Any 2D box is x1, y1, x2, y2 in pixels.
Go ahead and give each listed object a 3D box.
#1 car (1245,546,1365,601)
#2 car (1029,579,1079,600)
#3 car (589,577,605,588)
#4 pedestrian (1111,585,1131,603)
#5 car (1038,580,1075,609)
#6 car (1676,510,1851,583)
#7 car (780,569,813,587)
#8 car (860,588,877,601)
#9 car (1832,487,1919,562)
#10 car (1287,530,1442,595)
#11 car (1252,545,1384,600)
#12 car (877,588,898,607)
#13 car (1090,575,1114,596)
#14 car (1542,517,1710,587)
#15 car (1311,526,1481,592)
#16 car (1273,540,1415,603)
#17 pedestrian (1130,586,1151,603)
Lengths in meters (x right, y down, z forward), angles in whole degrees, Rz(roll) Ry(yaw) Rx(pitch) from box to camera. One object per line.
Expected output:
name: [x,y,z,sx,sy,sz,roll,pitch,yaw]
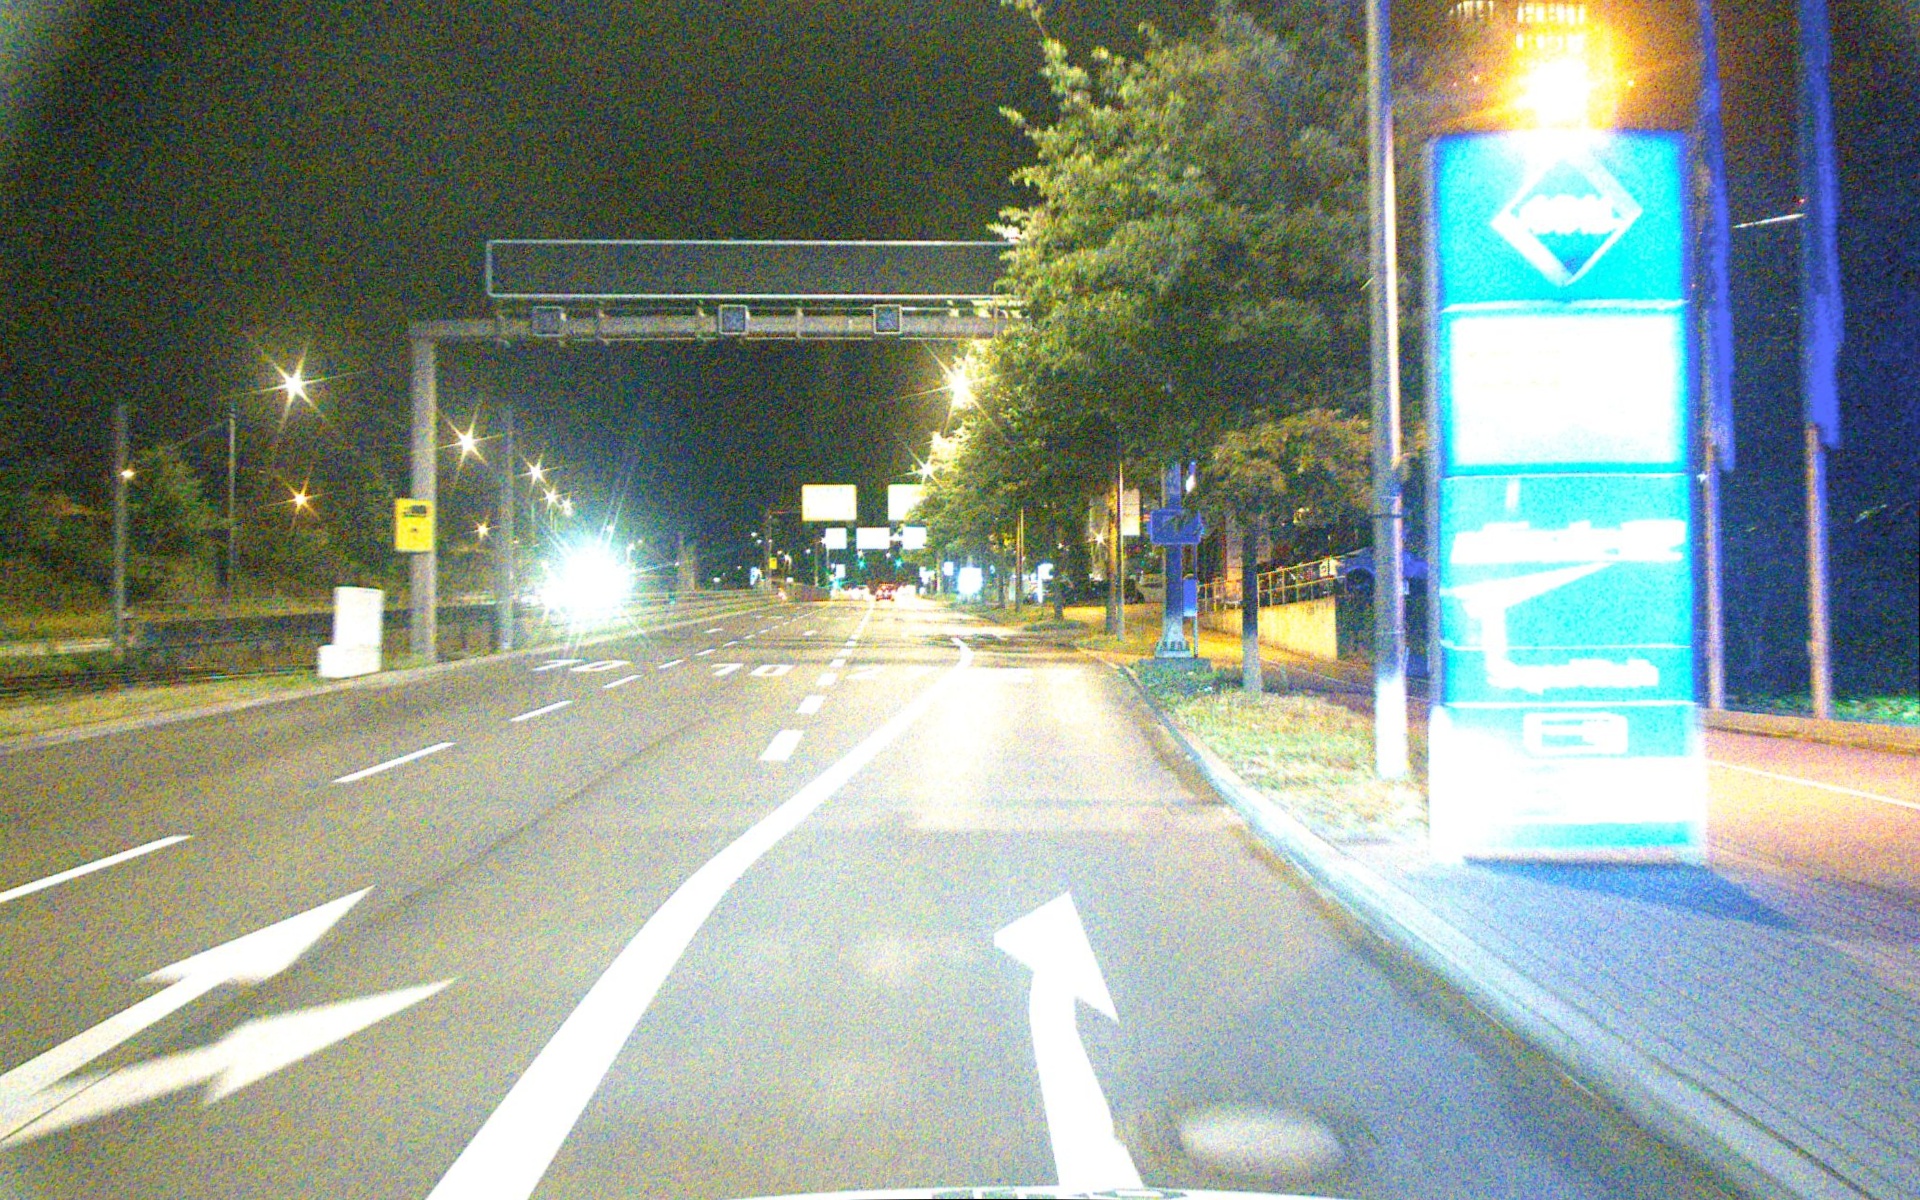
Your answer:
car: [11.389,-0.863,54.746,3.494,1.597,1.724,-2,-1,-7]
car: [7.228,-0.813,127.347,3.555,1.476,1.705,1,-1,-6]
car: [-53.140,-2.611,242.249,1.592,1.507,3.677,1,-1,-2]
pedestrian: [9.728,-0.344,99.944,0.897,1.056,0.767,-1,-1,41]
car: [7.123,-0.402,122.051,1.951,1.979,4.003,1,-1,15]
car: [20.422,-1.346,42.135,3.566,1.496,1.637,-4,-1,1]
car: [-17.302,-2.352,174.816,1.948,1.741,3.957,2,-1,-31]
car: [-12.052,-0.708,217.802,1.964,1.579,4.294,1,-1,0]
car: [26.113,-2.053,45.113,3.735,1.929,1.750,-1,-1,-6]
car: [11.406,-1.040,46.817,3.906,1.599,1.738,-2,-1,-1]
car: [11.178,-0.845,51.822,3.652,1.515,1.740,-2,-1,-4]
car: [-7.197,-0.240,163.821,1.928,1.741,3.999,1,-1,0]
car: [11.083,-1.138,129.308,1.853,1.538,3.638,1,-1,4]
car: [20.061,-1.426,49.909,4.271,1.755,1.751,-4,-1,0]
car: [11.692,-1.081,44.535,4.036,1.549,1.822,-2,-2,-1]
car: [11.429,-0.836,49.362,3.673,1.615,1.779,-3,-2,-4]
pedestrian: [10.902,-0.337,99.949,0.982,1.025,0.767,1,-1,-18]
